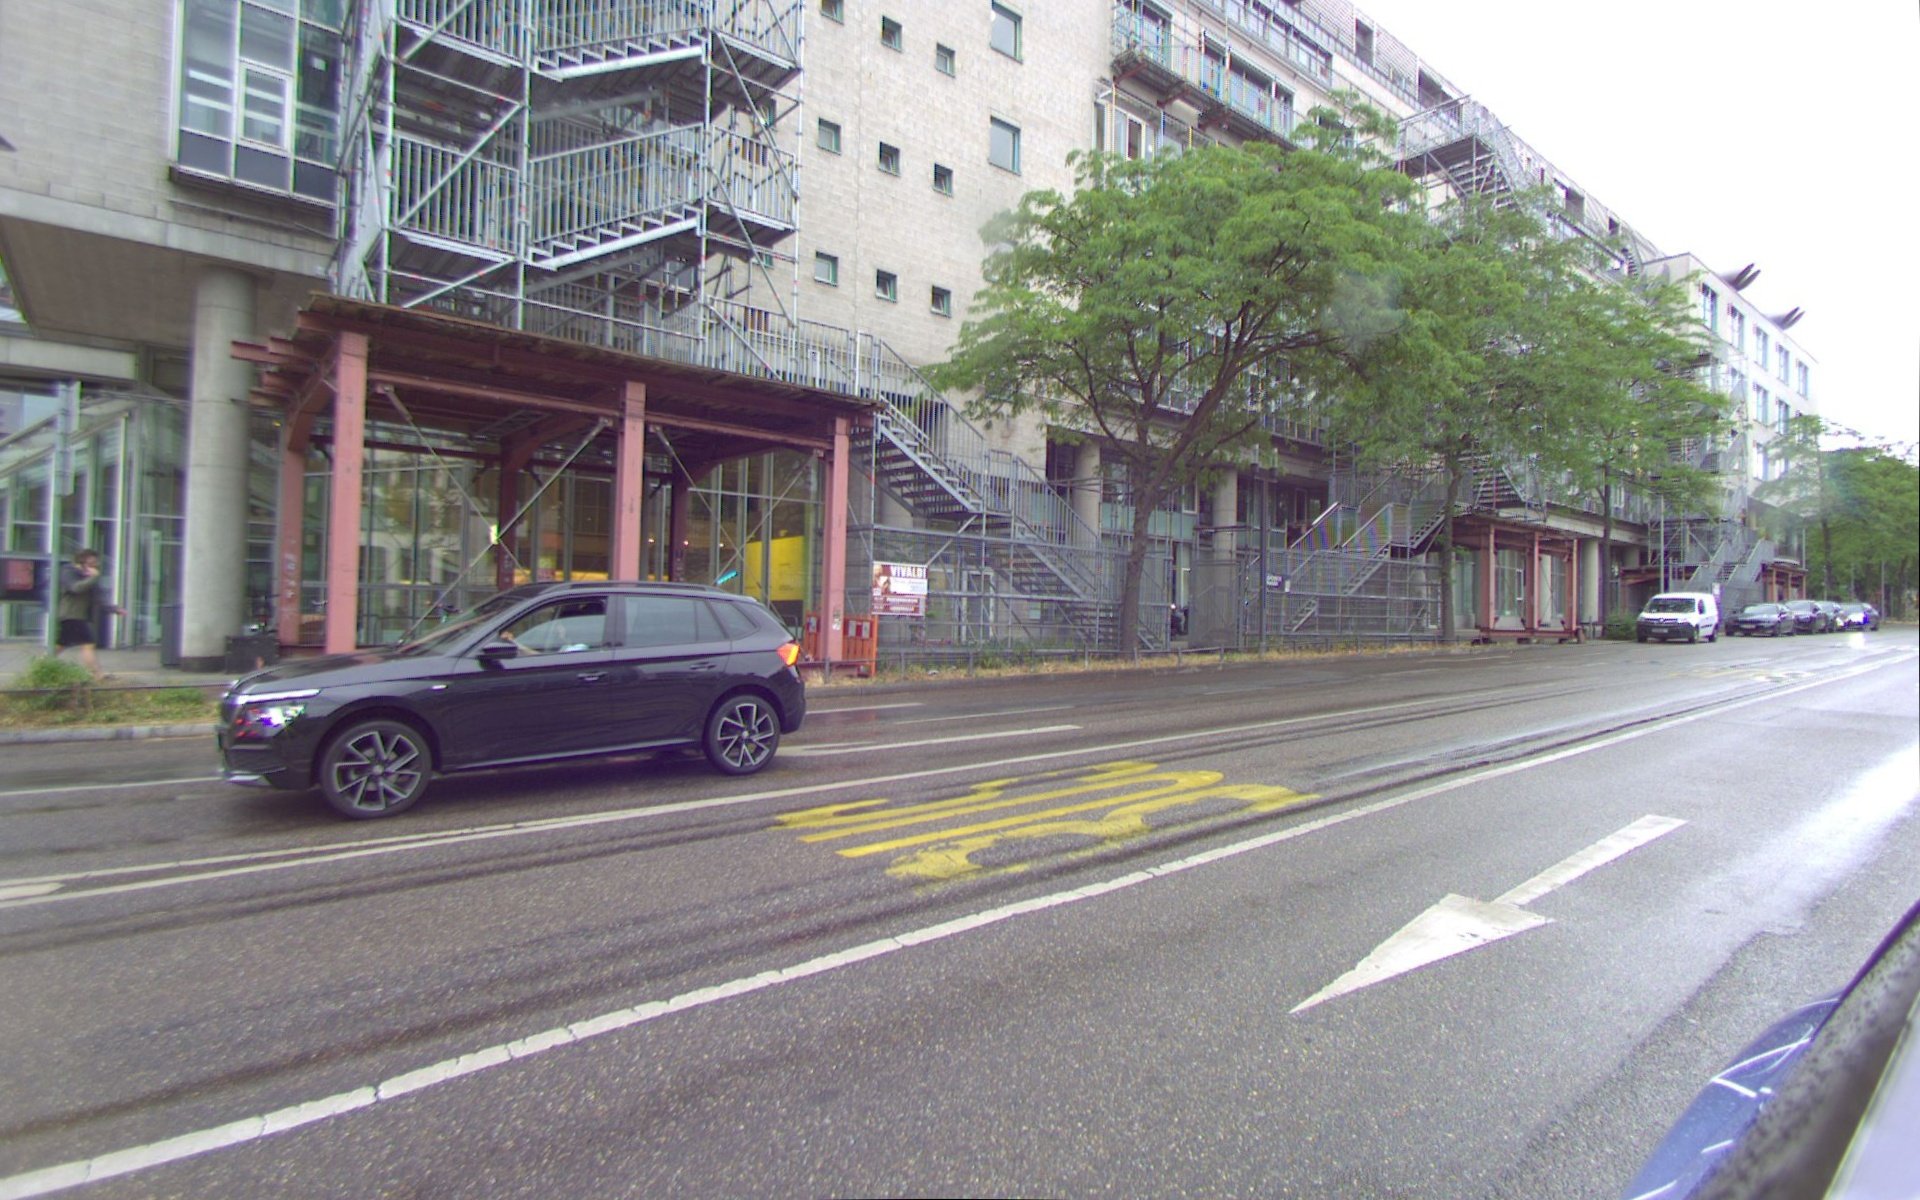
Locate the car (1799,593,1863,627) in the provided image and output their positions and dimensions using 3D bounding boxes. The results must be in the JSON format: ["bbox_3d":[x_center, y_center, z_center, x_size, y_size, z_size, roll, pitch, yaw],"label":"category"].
[{"bbox_3d":[44.382,0.494,51.531,4.512,1.621,1.865,1,0,-41],"label":"car"}]

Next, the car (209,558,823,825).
[{"bbox_3d":[-3.284,0.529,7.886,4.071,1.559,1.782,0,0,-39],"label":"car"}]

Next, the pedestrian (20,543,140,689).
[{"bbox_3d":[-11.762,0.204,13.560,1.034,1.875,0.683,0,0,-21],"label":"pedestrian"}]

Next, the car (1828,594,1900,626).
[{"bbox_3d":[49.103,0.522,54.959,5.191,1.621,1.999,1,0,-38],"label":"car"}]

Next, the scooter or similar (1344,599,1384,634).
[{"bbox_3d":[13.798,0.560,34.551,1.520,1.176,0.632,0,0,-41],"label":"scooter or similar"}]

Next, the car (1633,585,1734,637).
[{"bbox_3d":[26.217,0.382,36.624,4.447,1.772,1.997,0,0,-41],"label":"car"}]

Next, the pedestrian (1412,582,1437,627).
[{"bbox_3d":[18.221,0.176,39.728,0.641,1.764,0.678,0,0,-38],"label":"pedestrian"}]

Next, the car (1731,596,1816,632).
[{"bbox_3d":[35.249,0.592,43.814,4.831,1.455,1.873,1,0,-39],"label":"car"}]

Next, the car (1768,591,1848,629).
[{"bbox_3d":[40.352,0.459,48.119,4.774,1.667,1.998,1,0,-39],"label":"car"}]
